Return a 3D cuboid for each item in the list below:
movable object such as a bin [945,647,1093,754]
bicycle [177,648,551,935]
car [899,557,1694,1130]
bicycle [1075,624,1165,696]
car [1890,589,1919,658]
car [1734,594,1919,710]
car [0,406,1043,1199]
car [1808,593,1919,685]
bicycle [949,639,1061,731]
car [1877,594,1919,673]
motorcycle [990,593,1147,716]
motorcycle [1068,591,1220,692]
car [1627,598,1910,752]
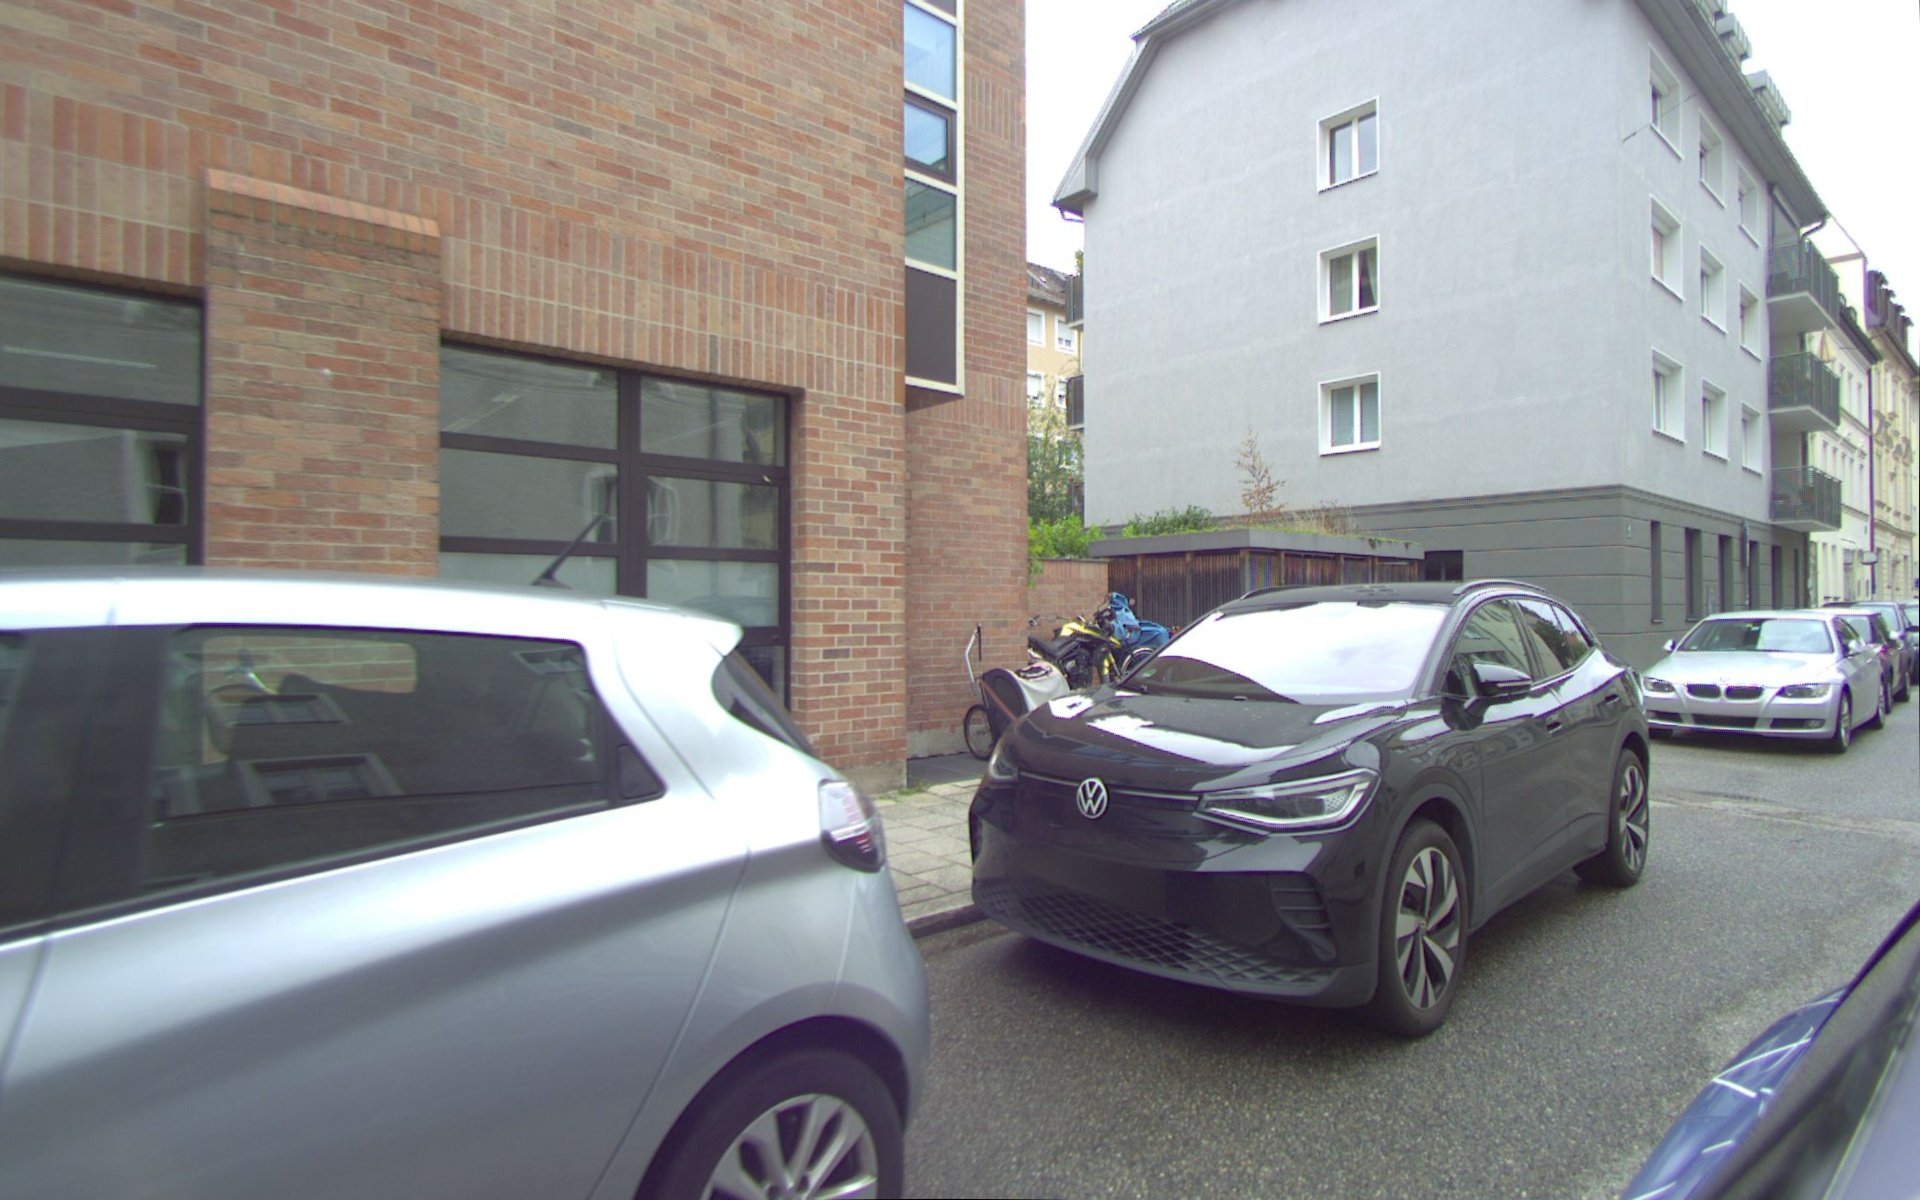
[{"bbox_3d":[0.522,0.872,9.195,0.828,0.842,1.089,0,-1,-40],"label":"movable object such as a bin"},{"bbox_3d":[-2.762,0.805,4.772,1.446,1.093,0.560,0,-1,-41],"label":"bicycle"},{"bbox_3d":[1.962,0.683,4.983,4.318,1.575,1.887,0,-1,-43],"label":"car"},{"bbox_3d":[2.116,0.776,13.328,1.296,0.870,0.375,-1,0,-38],"label":"bicycle"},{"bbox_3d":[23.933,0.535,24.415,4.243,1.590,1.878,0,1,-43],"label":"car"},{"bbox_3d":[13.042,0.682,15.021,4.079,1.480,1.747,0,-1,-42],"label":"car"},{"bbox_3d":[-1.760,0.607,1.692,3.818,1.656,1.722,-1,0,-44],"label":"car"},{"bbox_3d":[16.686,0.654,18.379,3.147,1.531,1.523,0,-1,-42],"label":"car"},{"bbox_3d":[0.461,0.876,10.831,0.406,0.870,1.318,0,0,-40],"label":"bicycle"},{"bbox_3d":[20.655,0.643,21.107,4.219,1.548,1.842,0,-1,-42],"label":"car"},{"bbox_3d":[1.314,0.610,12.063,1.901,1.361,0.542,-1,0,-30],"label":"motorcycle"},{"bbox_3d":[2.621,0.548,14.774,0.540,1.360,2.523,0,0,-35],"label":"motorcycle"},{"bbox_3d":[9.431,0.716,11.662,4.522,1.435,1.838,0,-1,-42],"label":"car"}]
